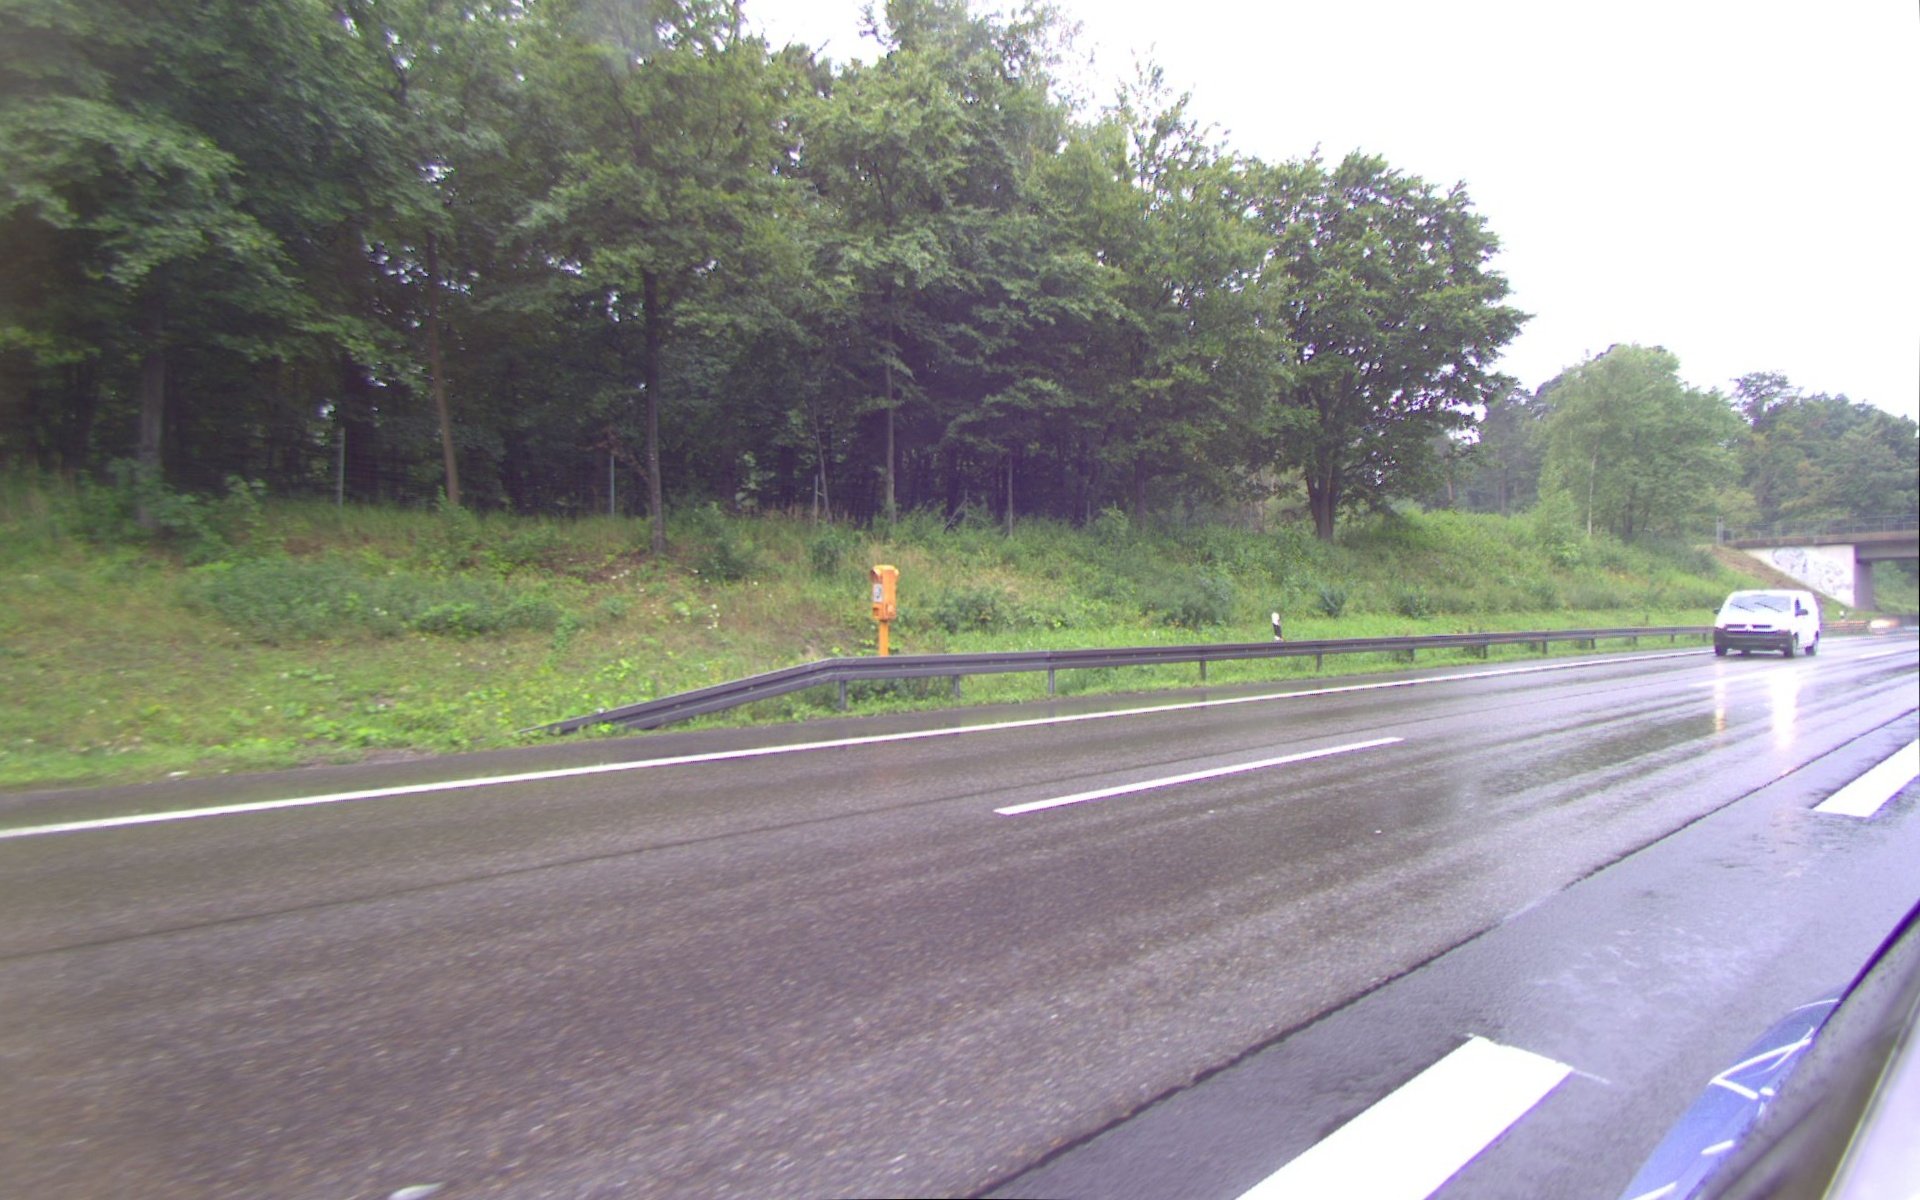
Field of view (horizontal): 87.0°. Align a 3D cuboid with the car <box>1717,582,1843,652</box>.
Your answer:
[{"bbox_3d":[24.640,0.481,30.352,4.680,1.945,1.994,0,0,-39],"label":"car"}]
